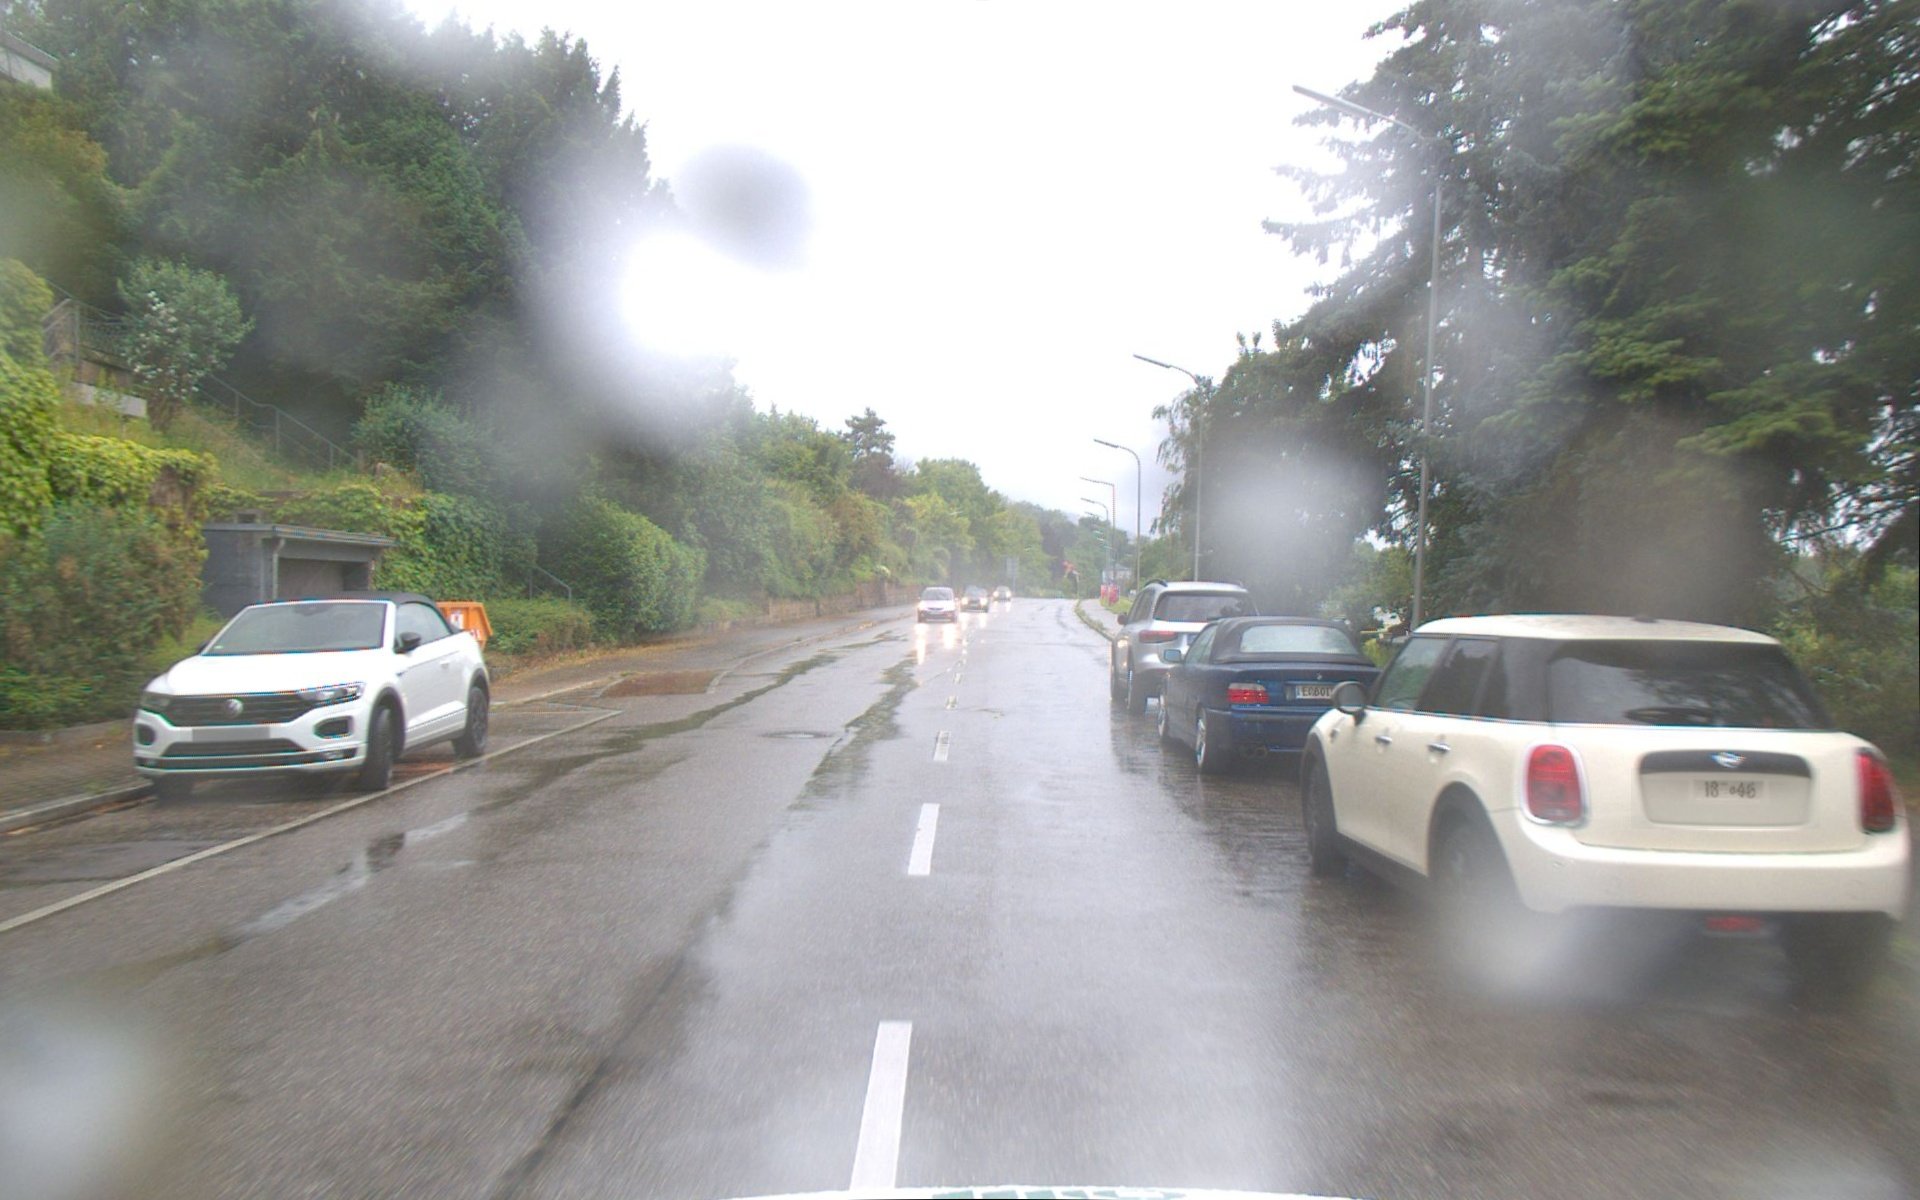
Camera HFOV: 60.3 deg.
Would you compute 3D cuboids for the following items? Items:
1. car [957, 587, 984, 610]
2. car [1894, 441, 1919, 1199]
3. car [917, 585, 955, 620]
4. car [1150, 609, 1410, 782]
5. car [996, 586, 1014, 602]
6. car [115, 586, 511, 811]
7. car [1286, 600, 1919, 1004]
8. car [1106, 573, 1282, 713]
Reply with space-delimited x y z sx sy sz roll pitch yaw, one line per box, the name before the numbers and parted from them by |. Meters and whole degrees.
car | 0.665 -0.079 101.474 1.620 1.375 3.988 -1 0 1
car | 2.771 0.601 1.207 1.748 1.821 4.361 -1 0 1
car | -1.075 0.088 73.311 1.628 1.486 3.661 -1 0 -2
car | 2.798 0.774 15.369 1.597 1.304 4.448 -1 0 1
car | 4.425 -0.633 163.885 1.723 1.522 4.128 -1 0 1
car | -5.155 0.683 13.835 1.720 1.524 4.218 -2 0 -2
car | 2.838 0.738 8.139 1.674 1.427 4.204 -1 0 1
car | 3.018 0.508 22.161 1.778 1.674 4.396 -1 0 1
